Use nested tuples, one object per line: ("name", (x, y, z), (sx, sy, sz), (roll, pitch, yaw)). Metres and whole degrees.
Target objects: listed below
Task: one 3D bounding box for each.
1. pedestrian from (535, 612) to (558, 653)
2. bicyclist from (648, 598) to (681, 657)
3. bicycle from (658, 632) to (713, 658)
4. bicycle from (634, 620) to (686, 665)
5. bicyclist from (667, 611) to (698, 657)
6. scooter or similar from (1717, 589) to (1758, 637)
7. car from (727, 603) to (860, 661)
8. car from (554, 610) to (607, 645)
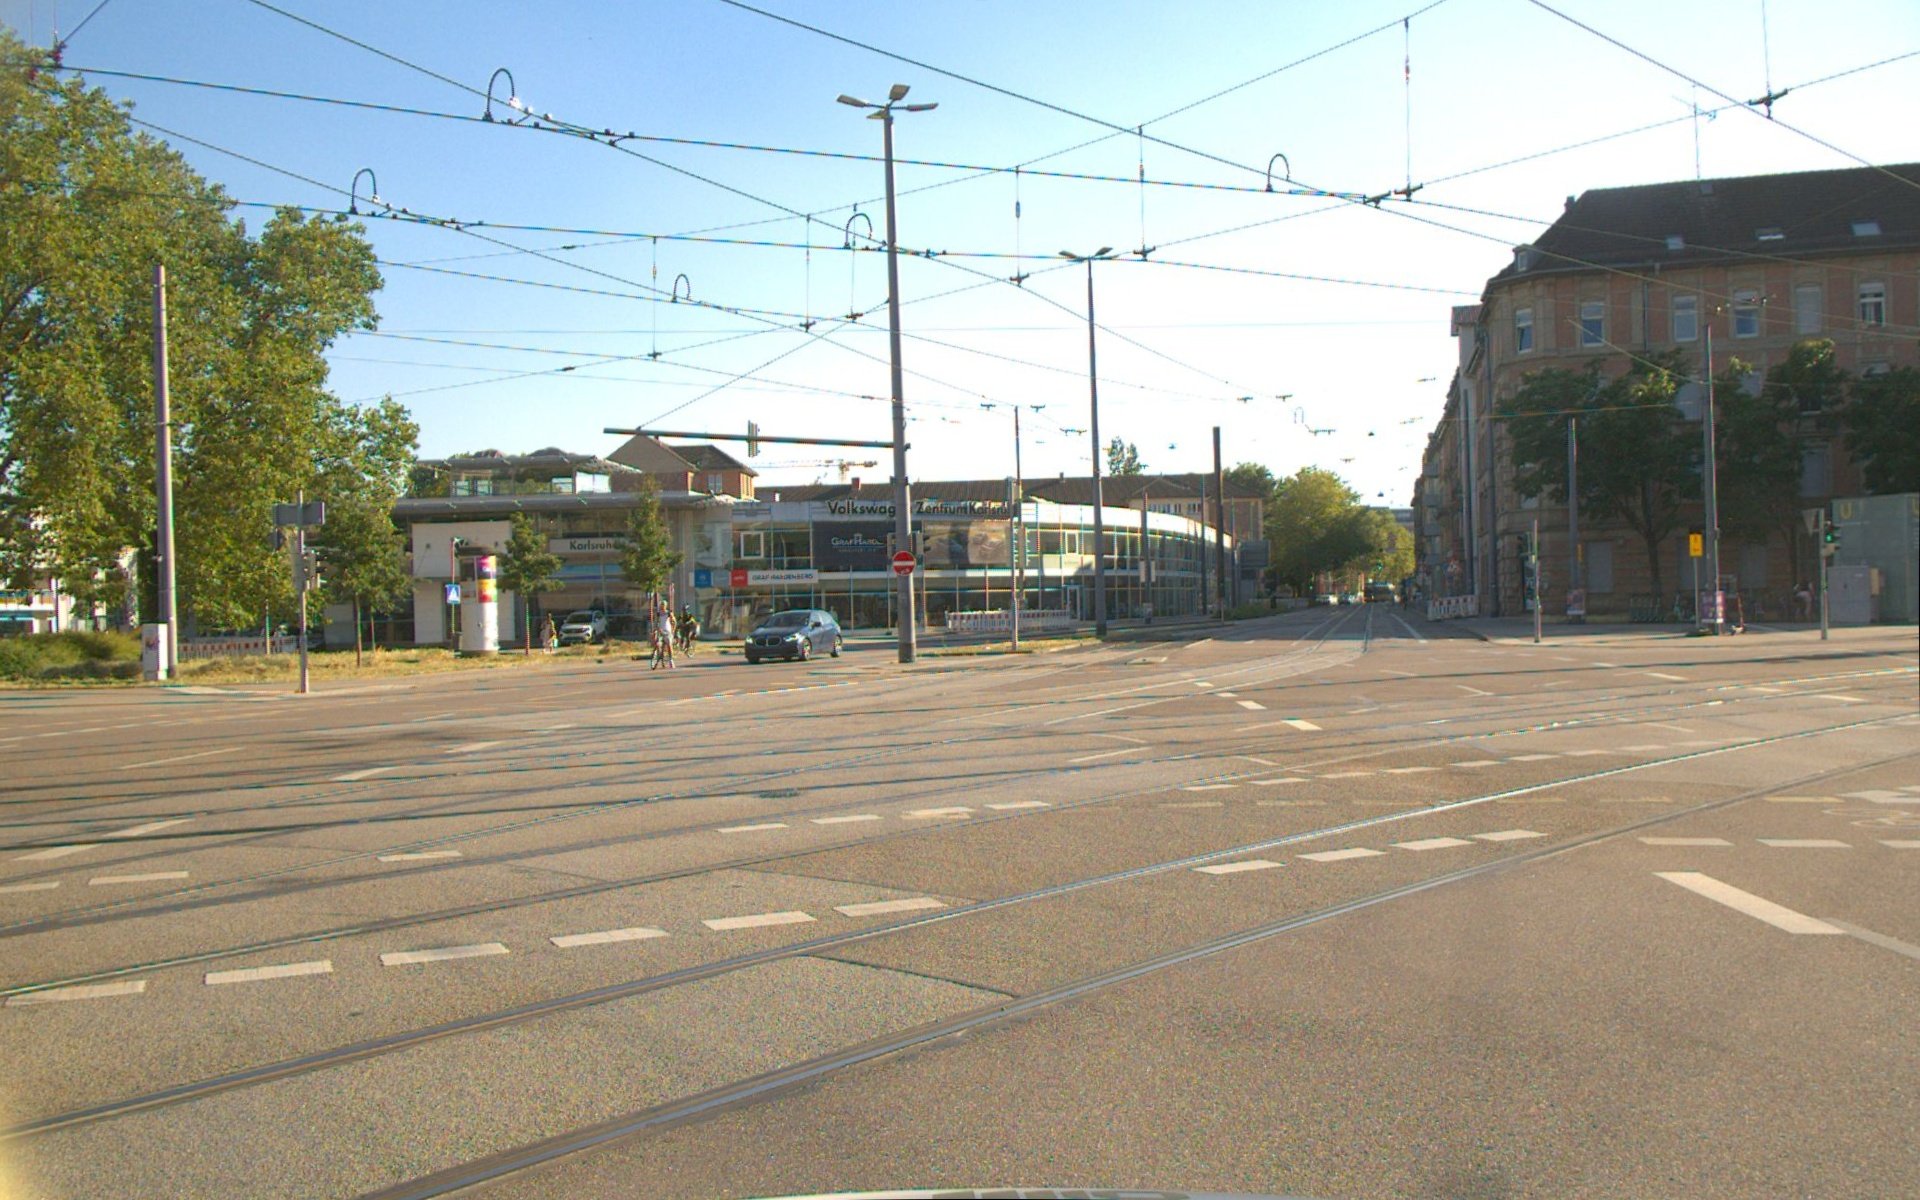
("pedestrian", (-17.633, 1.377, 70.512), (0.839, 1.724, 0.497), (0, -1, -1))
("bicyclist", (-8.269, 0.770, 46.272), (0.585, 1.644, 0.823), (0, -1, 18))
("bicycle", (-9.627, 1.566, 58.115), (0.626, 0.886, 2.230), (-1, -1, 30))
("bicycle", (-8.344, 1.176, 46.036), (0.599, 1.210, 1.870), (0, -1, 18))
("bicyclist", (-9.716, 1.187, 57.990), (0.641, 1.600, 0.921), (-1, -1, 30))
("scooter or similar", (22.971, 0.393, 48.879), (0.769, 1.400, 1.909), (0, -1, 15))
("car", (-4.772, 0.919, 47.836), (1.955, 1.613, 3.994), (0, -1, 28))
("car", (-19.651, 1.432, 85.711), (1.953, 1.780, 3.998), (0, -1, -2))
